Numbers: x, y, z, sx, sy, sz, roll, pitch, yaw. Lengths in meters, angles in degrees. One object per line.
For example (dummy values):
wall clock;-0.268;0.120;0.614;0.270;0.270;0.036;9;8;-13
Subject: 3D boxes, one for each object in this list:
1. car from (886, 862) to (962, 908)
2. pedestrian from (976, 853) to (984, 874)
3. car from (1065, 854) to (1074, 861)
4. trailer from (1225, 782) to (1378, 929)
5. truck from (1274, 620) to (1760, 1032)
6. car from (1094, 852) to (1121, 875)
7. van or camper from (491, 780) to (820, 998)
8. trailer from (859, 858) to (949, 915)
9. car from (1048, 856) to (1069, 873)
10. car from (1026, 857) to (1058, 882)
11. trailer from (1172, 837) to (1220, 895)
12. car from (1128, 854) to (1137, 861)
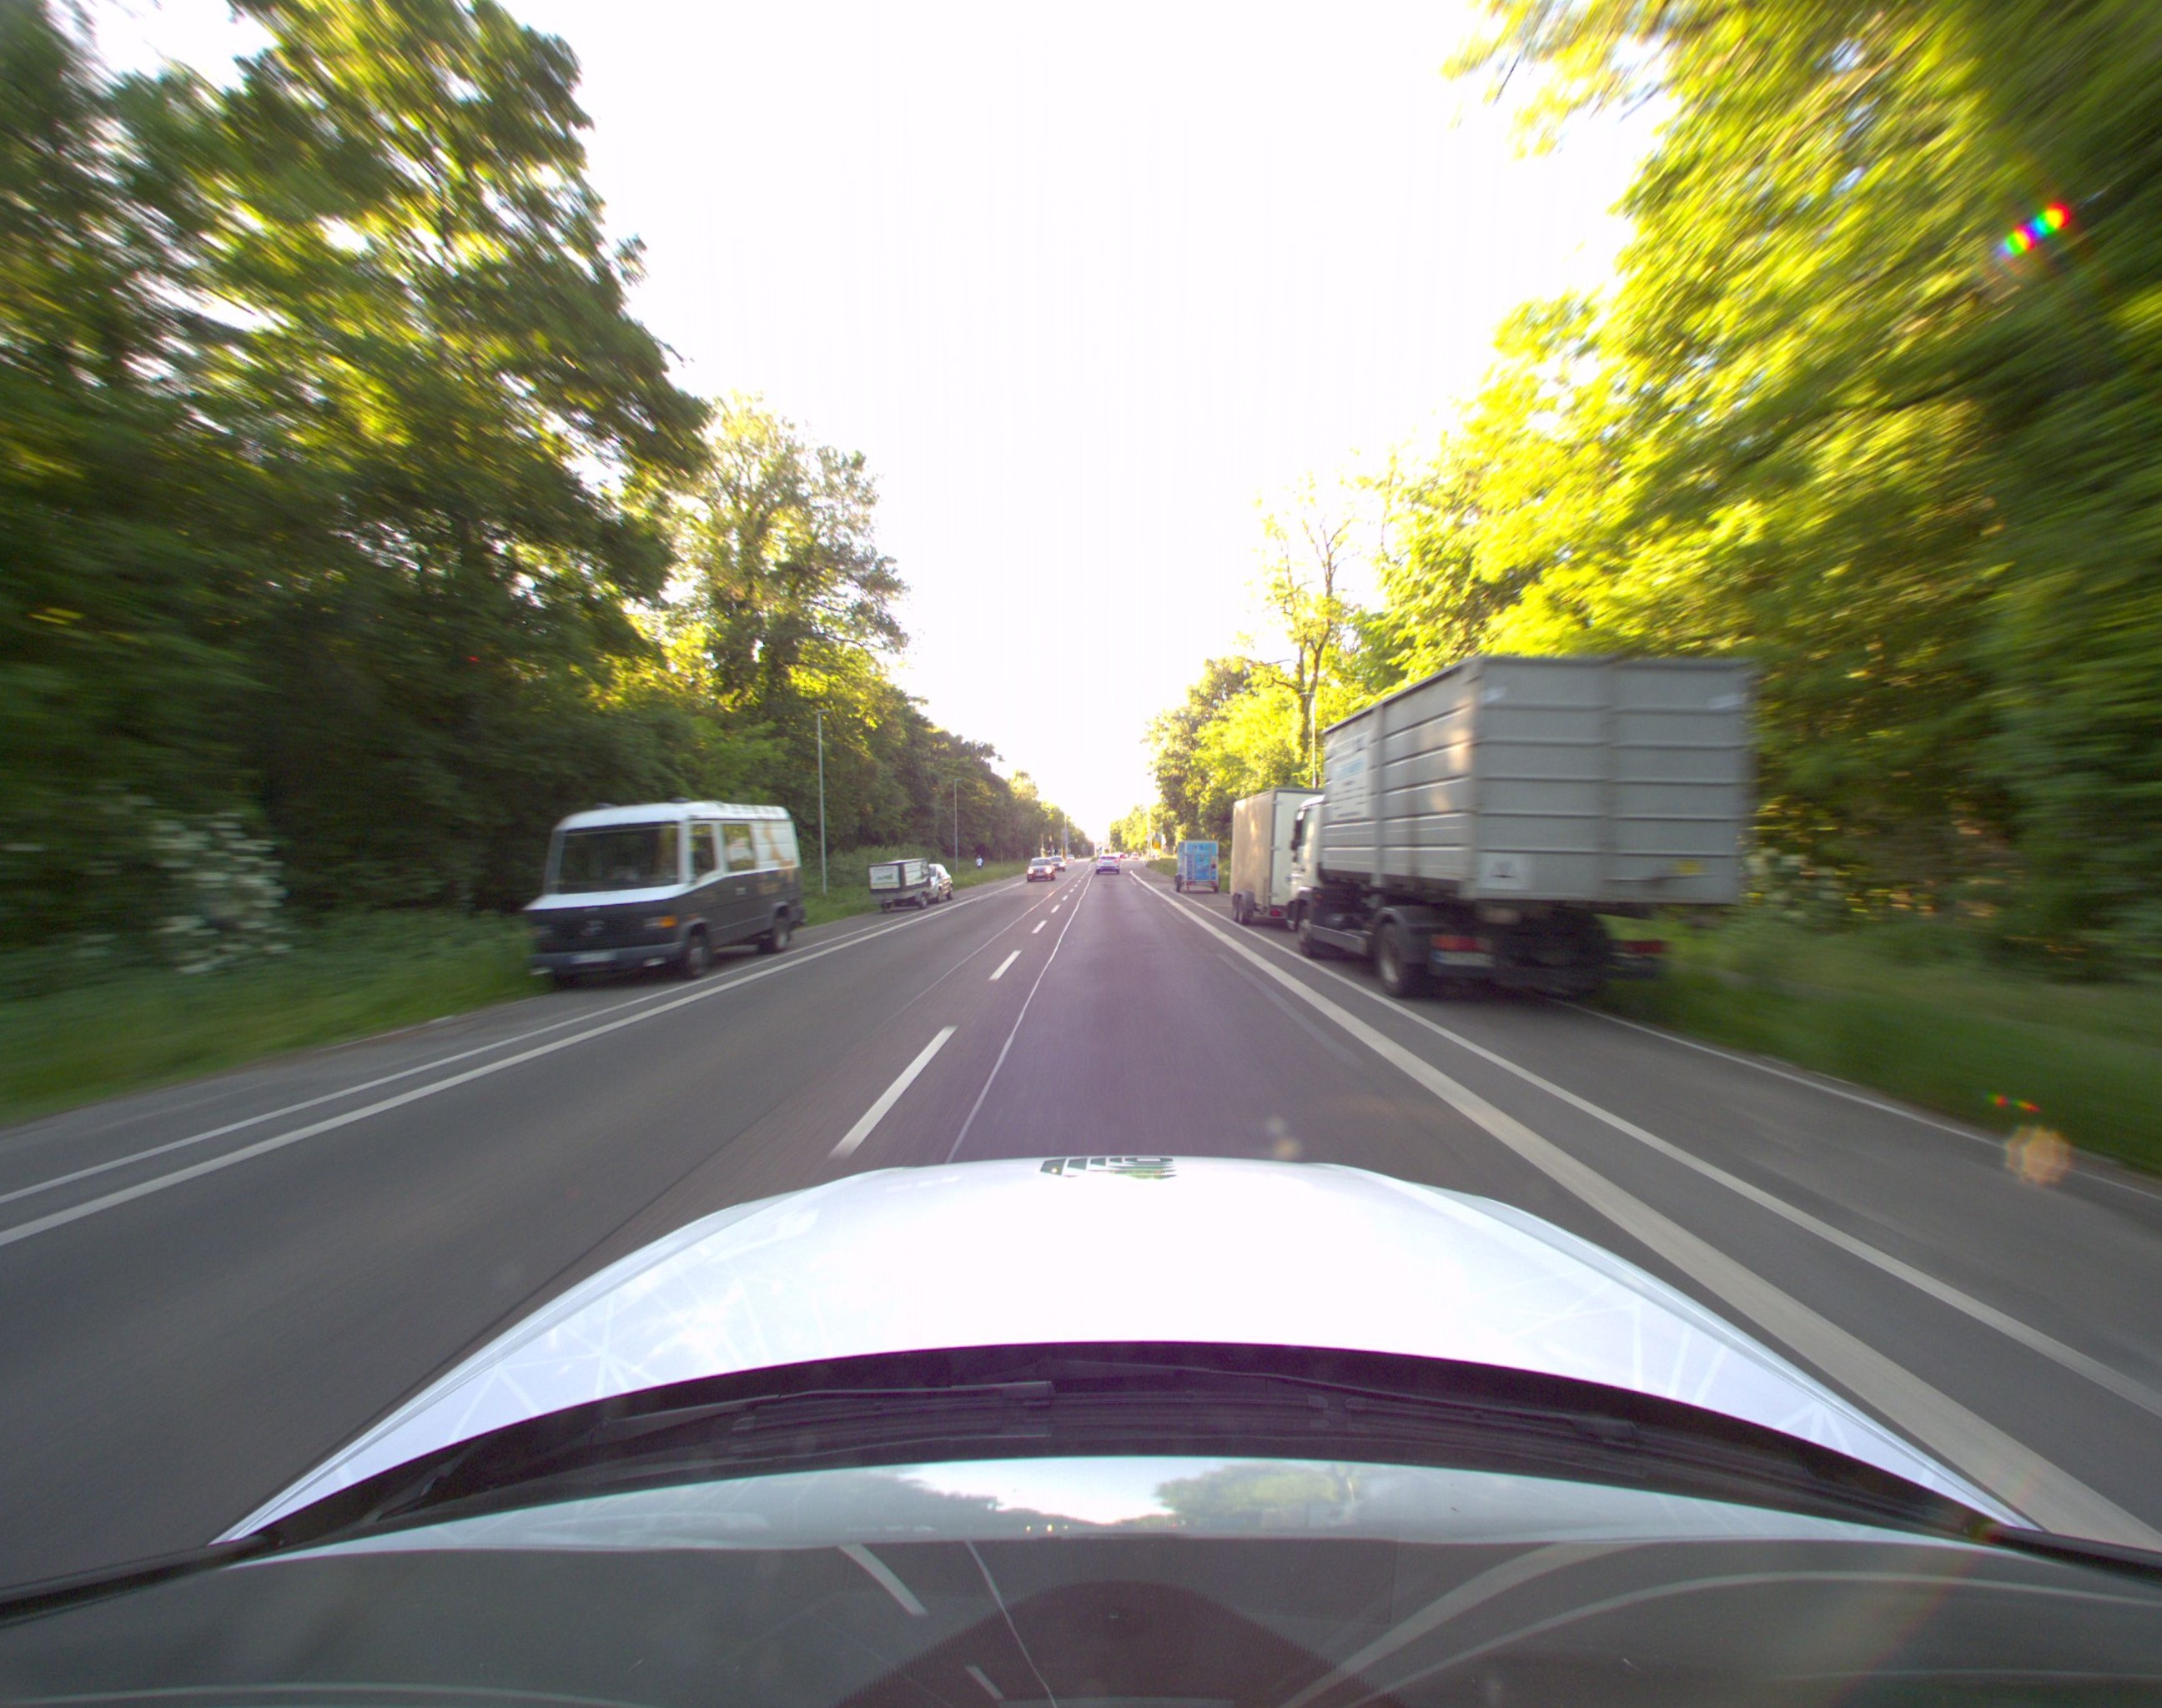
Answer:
car;-5.974;1.128;31.463;1.860;1.463;4.135;-5;0;2
pedestrian;-9.466;0.903;76.321;0.691;2.013;0.713;0;0;2
car;-2.628;0.855;188.591;1.986;1.464;4.001;-1;0;1
trailer;4.731;0.030;18.407;2.263;2.844;5.210;0;0;2
truck;4.413;-0.211;10.242;2.495;3.366;7.110;-1;0;2
car;2.030;0.705;63.212;1.986;1.640;4.001;-2;0;1
van or camper;-6.580;0.467;13.669;2.293;2.768;5.559;-4;0;2
trailer;-5.783;1.022;26.942;1.459;1.659;3.378;-3;-1;14
car;-2.145;0.990;79.677;1.672;1.490;4.692;-2;0;2
car;-2.416;0.935;51.289;1.672;1.415;4.002;-2;0;2
trailer;4.699;0.448;33.654;1.494;2.235;4.552;0;0;2
car;12.092;0.764;190.170;1.985;1.618;4.003;0;0;2
